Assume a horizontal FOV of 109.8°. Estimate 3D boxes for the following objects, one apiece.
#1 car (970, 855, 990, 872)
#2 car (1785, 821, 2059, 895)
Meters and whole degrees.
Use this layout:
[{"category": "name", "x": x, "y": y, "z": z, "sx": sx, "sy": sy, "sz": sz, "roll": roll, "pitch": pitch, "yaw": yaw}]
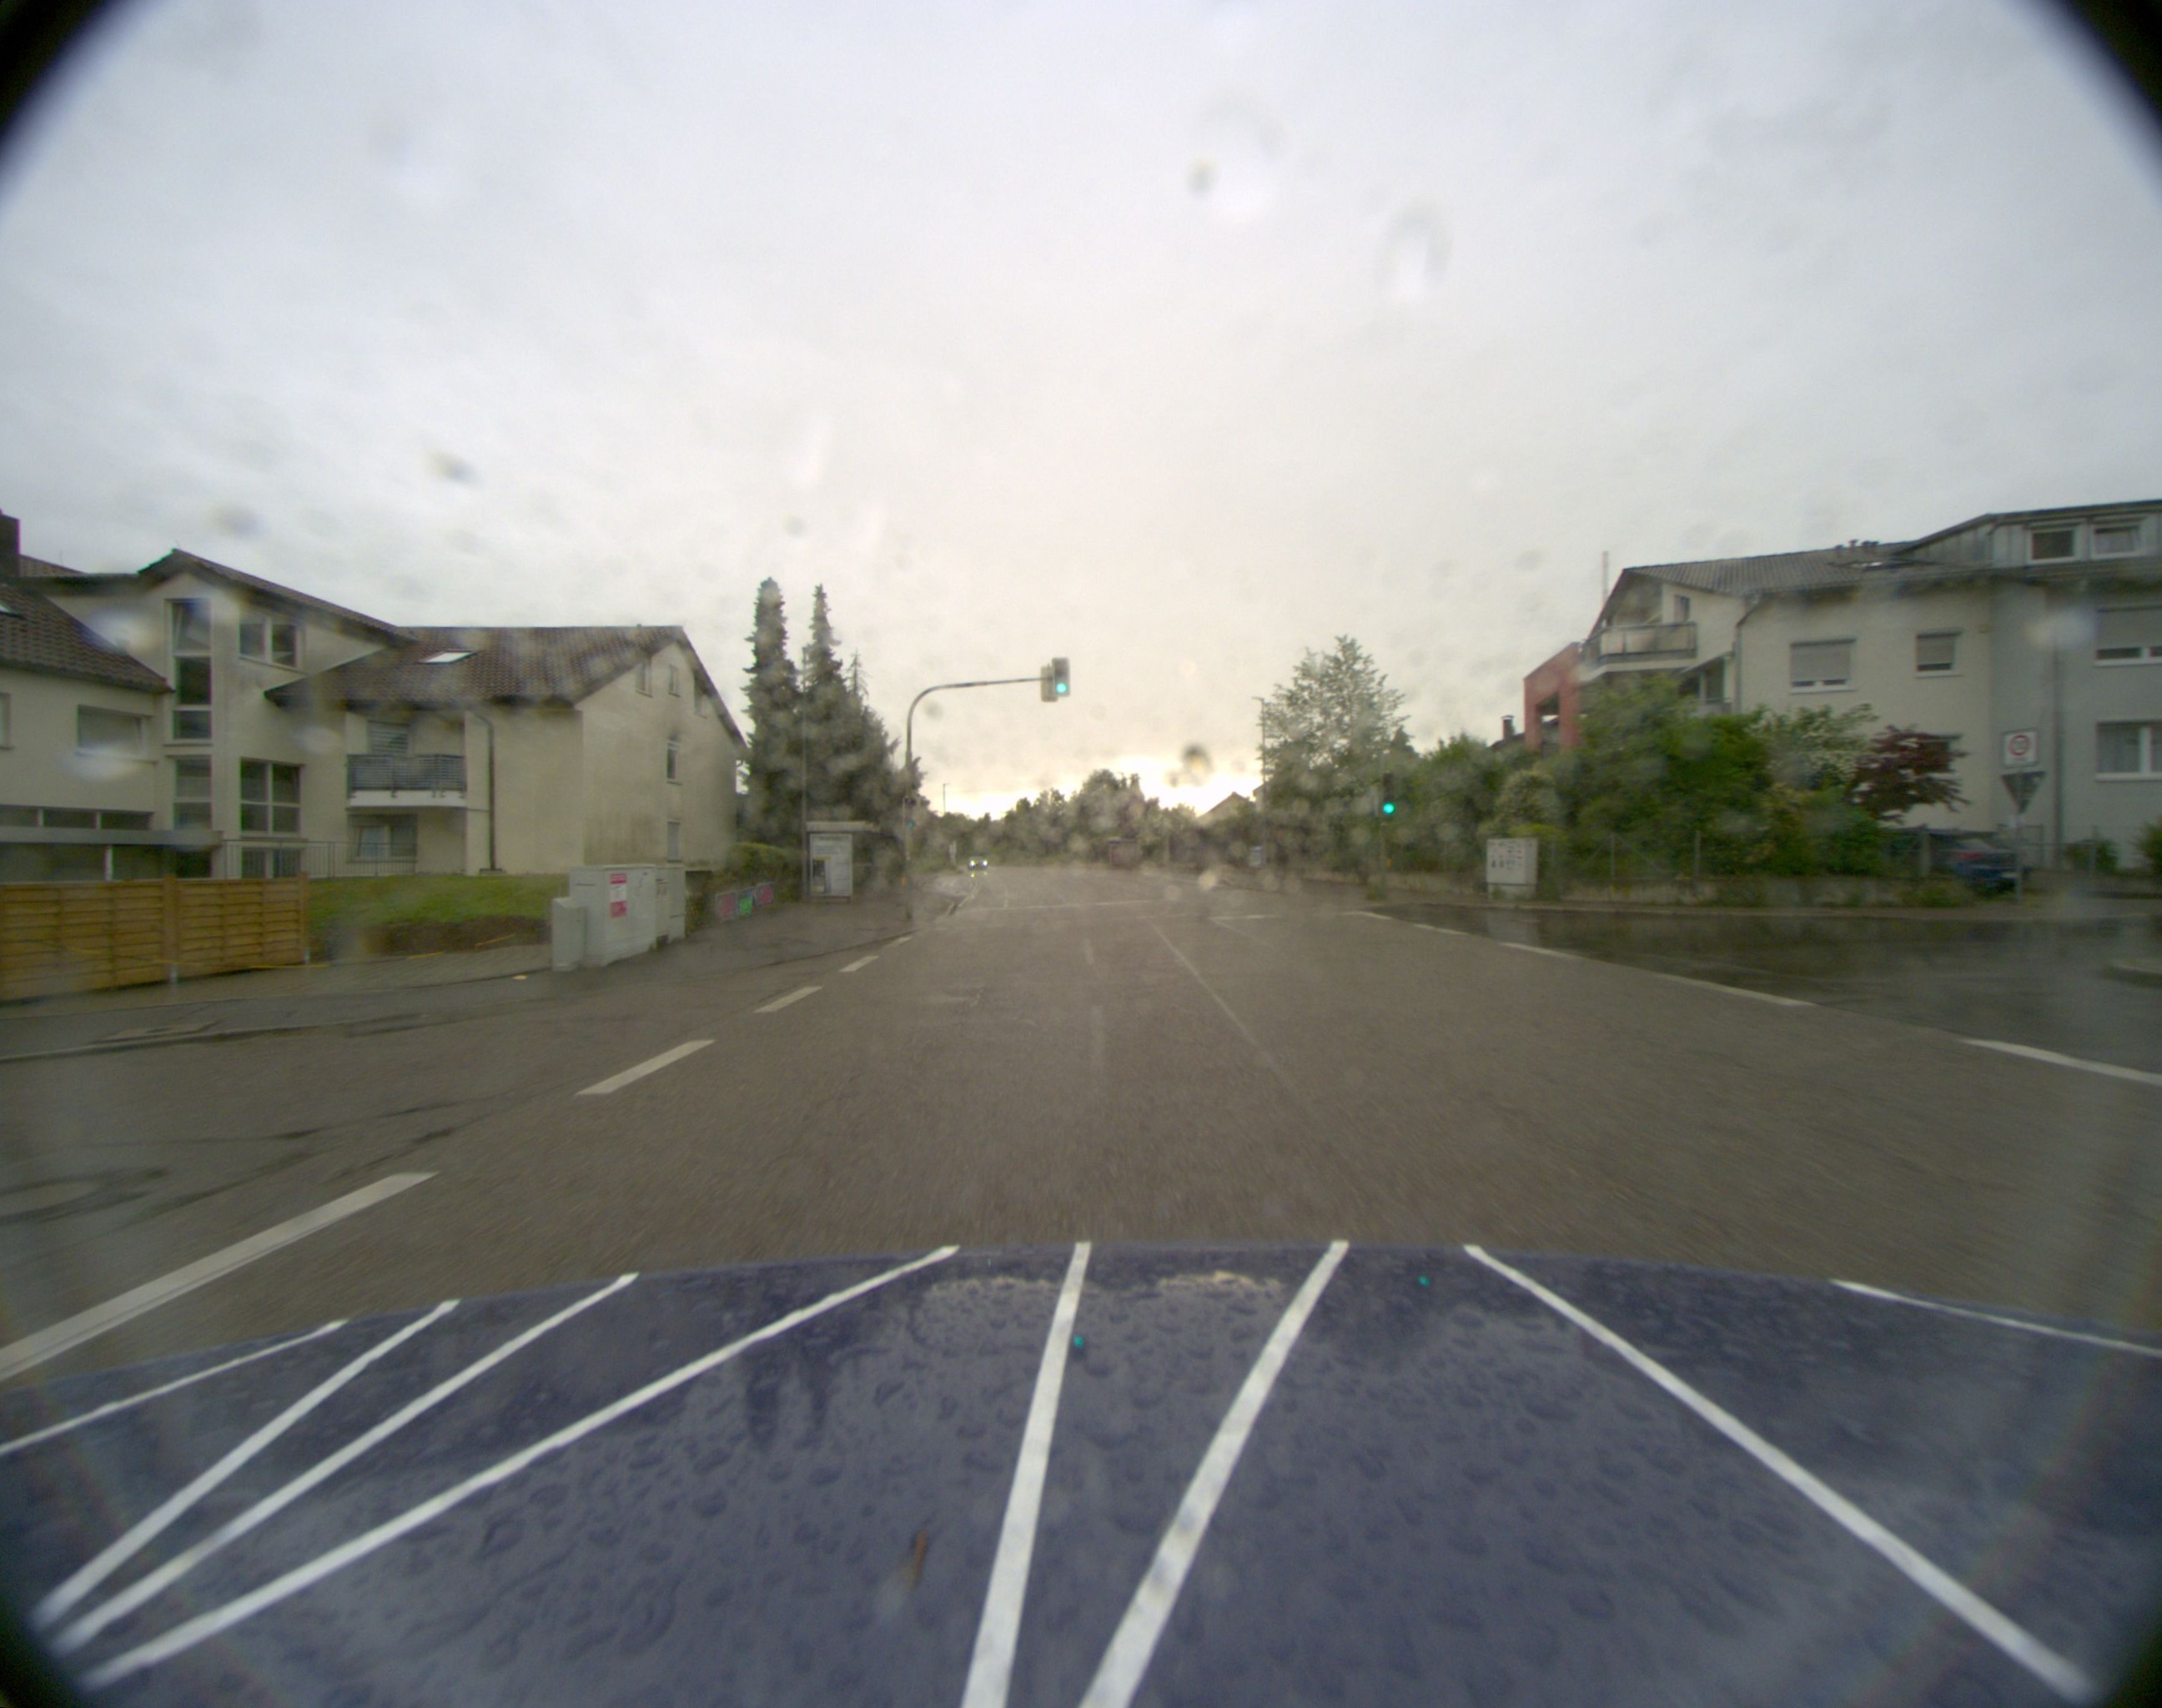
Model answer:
[{"category": "car", "x": -11.477, "y": 1.030, "z": 86.076, "sx": 2.000, "sy": 1.831, "sz": 3.996, "roll": -1, "pitch": 0, "yaw": -11}, {"category": "car", "x": 18.135, "y": 0.061, "z": 16.642, "sx": 1.778, "sy": 1.413, "sz": 3.622, "roll": -1, "pitch": 1, "yaw": -12}]
